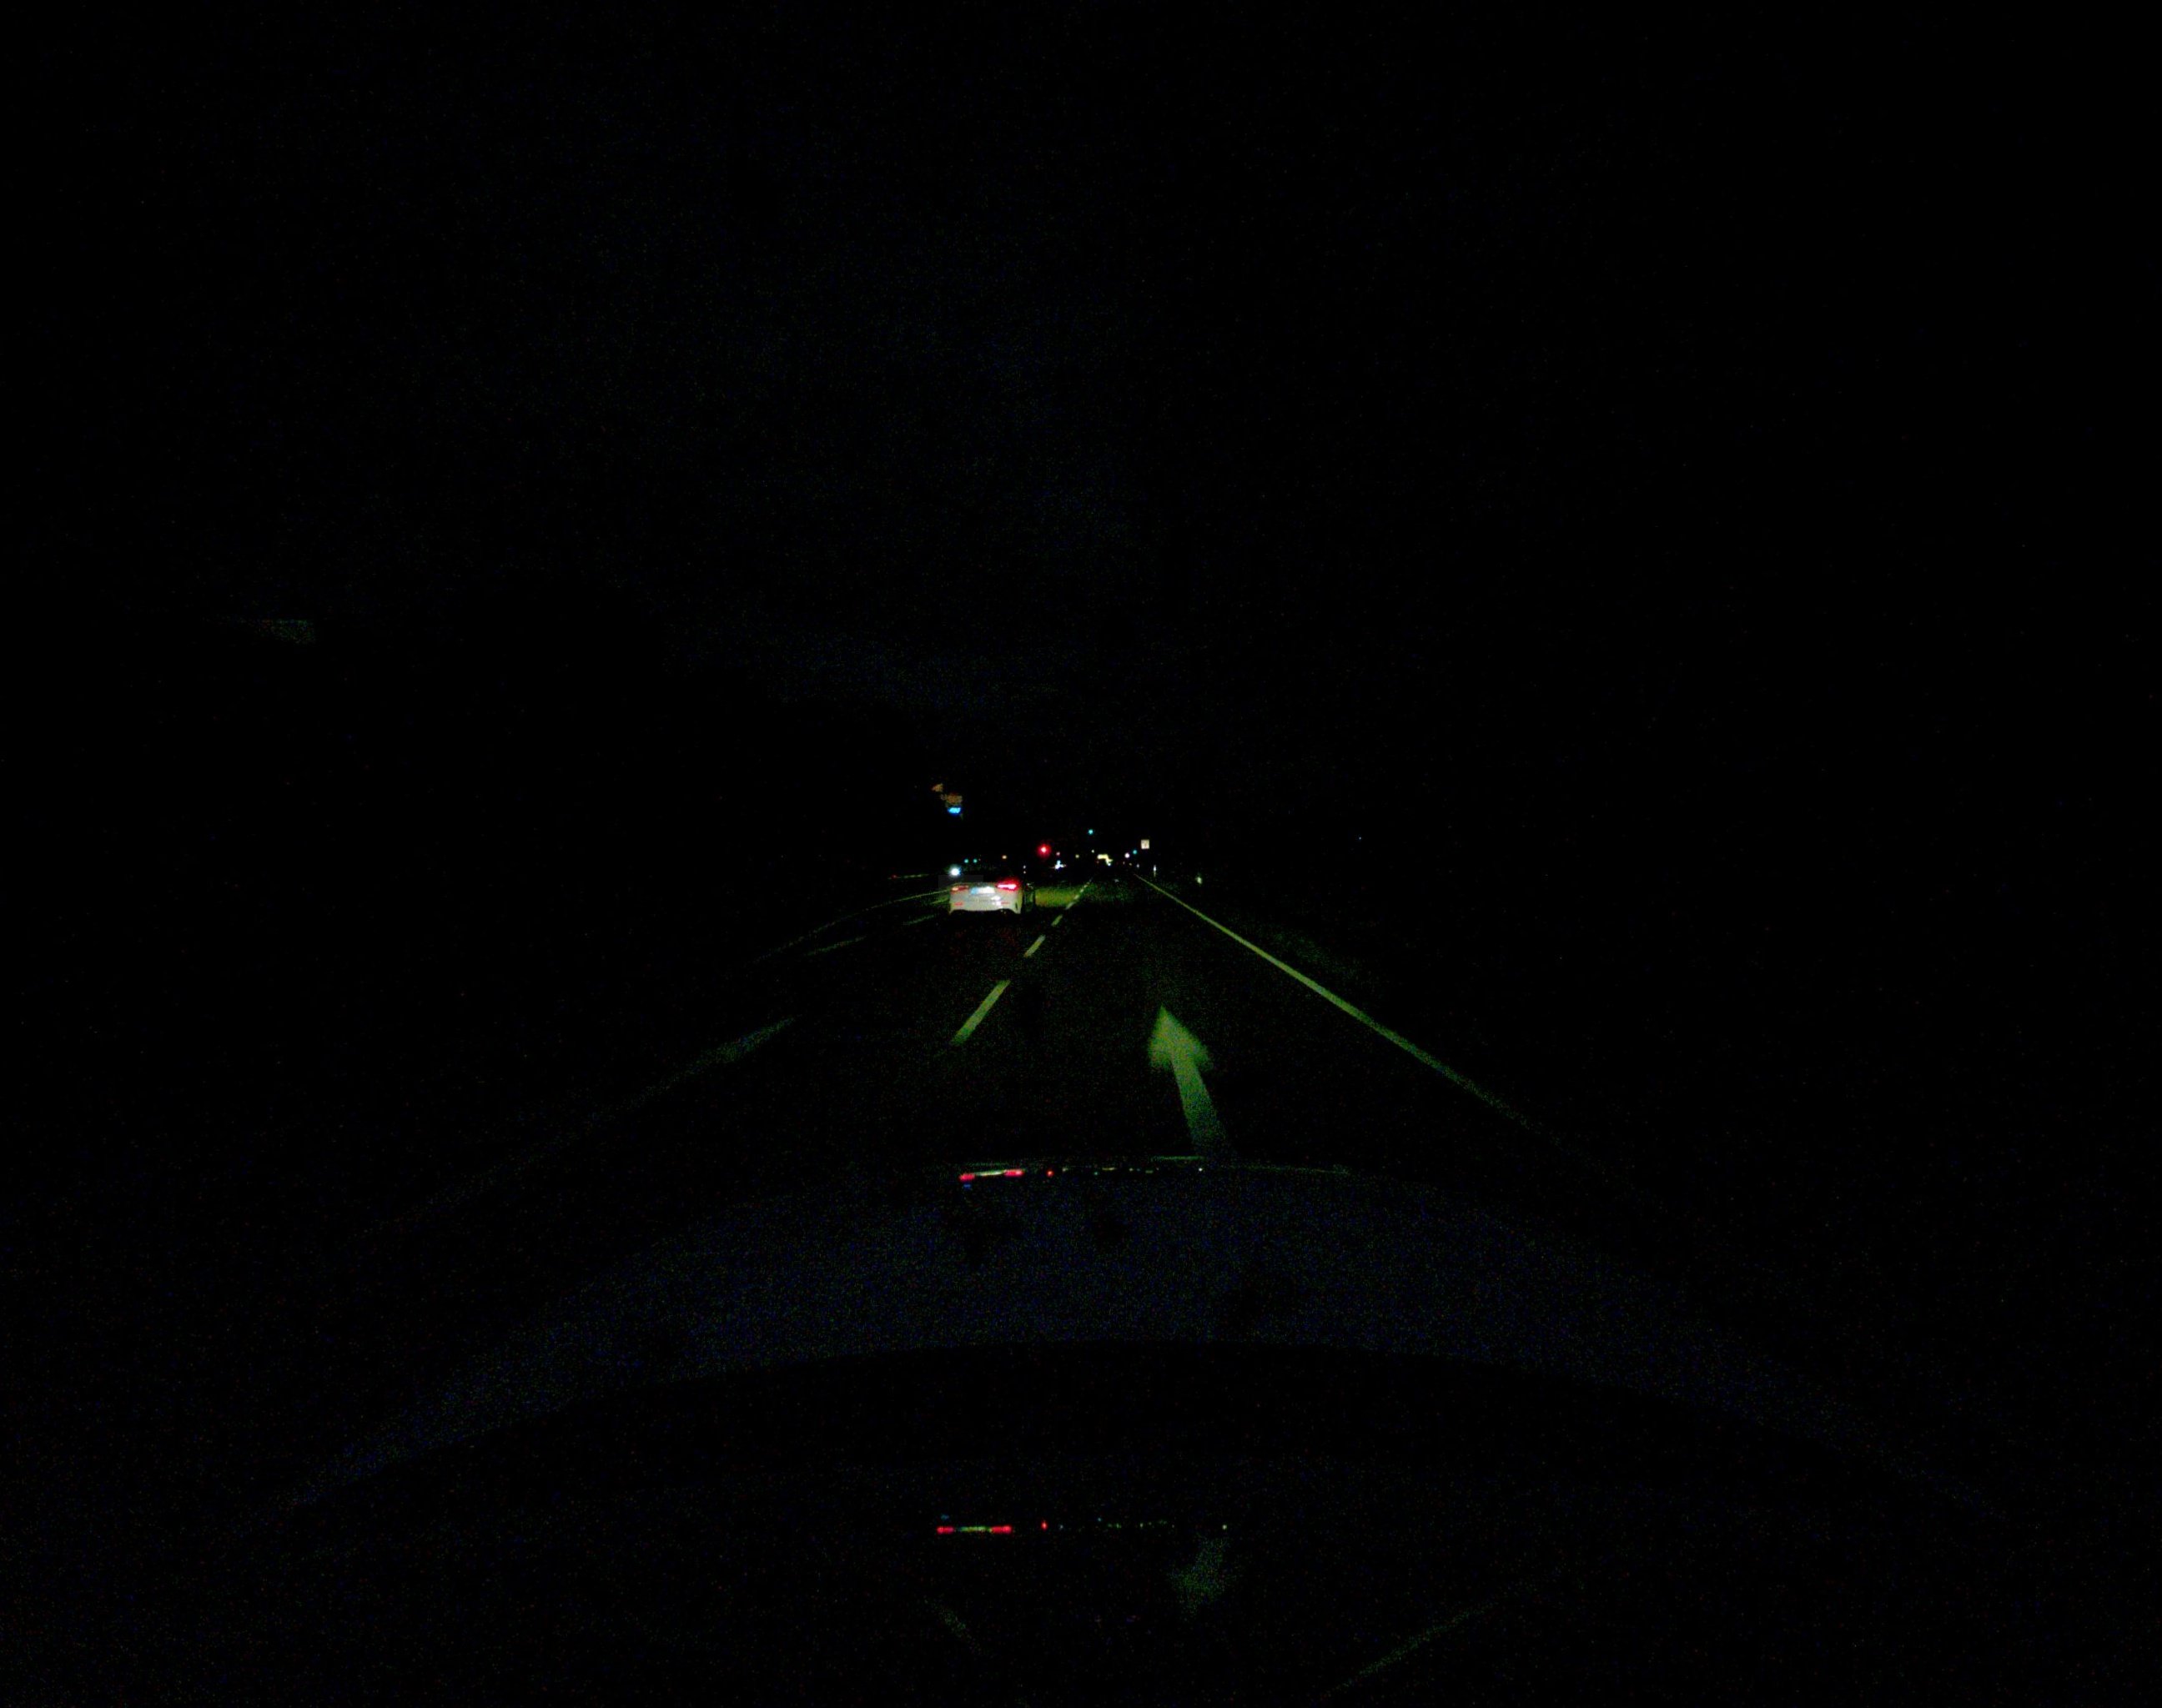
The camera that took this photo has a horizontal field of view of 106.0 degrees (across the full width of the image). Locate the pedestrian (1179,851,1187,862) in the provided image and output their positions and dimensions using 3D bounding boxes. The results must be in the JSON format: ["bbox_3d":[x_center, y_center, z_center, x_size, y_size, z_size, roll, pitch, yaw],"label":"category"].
[{"bbox_3d":[15.284,0.356,121.915,1.087,1.723,1.260,-1,-1,1],"label":"pedestrian"}]

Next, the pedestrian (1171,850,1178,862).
[{"bbox_3d":[13.981,0.351,122.096,0.918,1.793,1.107,-1,0,2],"label":"pedestrian"}]

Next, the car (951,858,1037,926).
[{"bbox_3d":[-2.104,0.878,20.852,1.636,1.490,4.580,-1,0,1],"label":"car"}]
